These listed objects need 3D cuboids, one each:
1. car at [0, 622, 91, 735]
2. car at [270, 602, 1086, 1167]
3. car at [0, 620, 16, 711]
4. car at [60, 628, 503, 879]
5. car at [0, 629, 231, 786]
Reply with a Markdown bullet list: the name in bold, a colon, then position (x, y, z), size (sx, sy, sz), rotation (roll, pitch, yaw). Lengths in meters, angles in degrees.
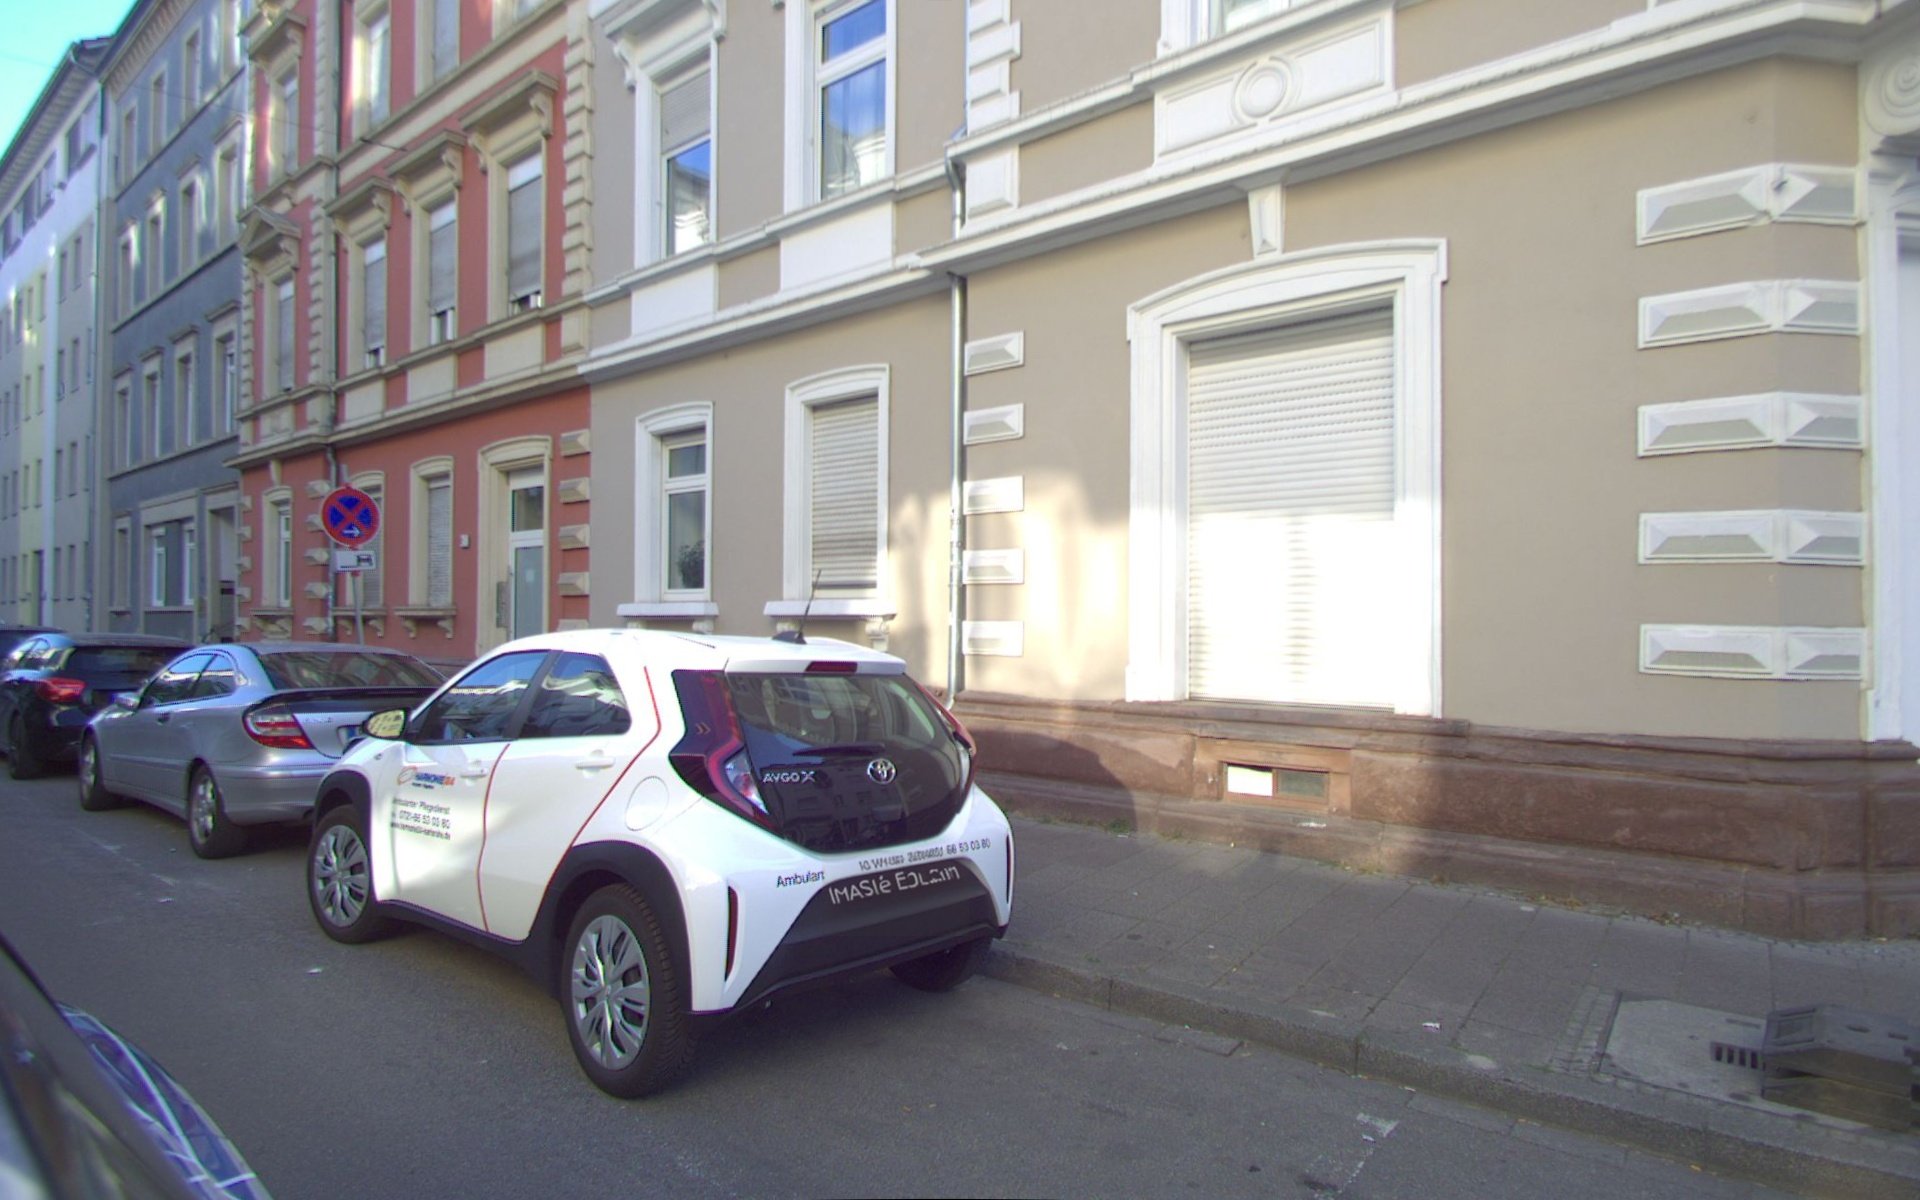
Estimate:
- **car**: position (-14.404, 1.081, 14.922), size (4.189, 1.510, 1.519), rotation (-1, -3, 37)
- **car**: position (-1.511, 0.842, 4.628), size (3.841, 1.507, 1.667), rotation (-1, -5, 40)
- **car**: position (-18.338, 1.123, 18.016), size (4.424, 1.534, 1.578), rotation (-1, -1, 38)
- **car**: position (-5.349, 0.982, 7.811), size (3.956, 1.439, 1.594), rotation (-1, -4, 37)
- **car**: position (-9.619, 1.074, 11.099), size (3.907, 1.426, 1.569), rotation (-1, -5, 39)
